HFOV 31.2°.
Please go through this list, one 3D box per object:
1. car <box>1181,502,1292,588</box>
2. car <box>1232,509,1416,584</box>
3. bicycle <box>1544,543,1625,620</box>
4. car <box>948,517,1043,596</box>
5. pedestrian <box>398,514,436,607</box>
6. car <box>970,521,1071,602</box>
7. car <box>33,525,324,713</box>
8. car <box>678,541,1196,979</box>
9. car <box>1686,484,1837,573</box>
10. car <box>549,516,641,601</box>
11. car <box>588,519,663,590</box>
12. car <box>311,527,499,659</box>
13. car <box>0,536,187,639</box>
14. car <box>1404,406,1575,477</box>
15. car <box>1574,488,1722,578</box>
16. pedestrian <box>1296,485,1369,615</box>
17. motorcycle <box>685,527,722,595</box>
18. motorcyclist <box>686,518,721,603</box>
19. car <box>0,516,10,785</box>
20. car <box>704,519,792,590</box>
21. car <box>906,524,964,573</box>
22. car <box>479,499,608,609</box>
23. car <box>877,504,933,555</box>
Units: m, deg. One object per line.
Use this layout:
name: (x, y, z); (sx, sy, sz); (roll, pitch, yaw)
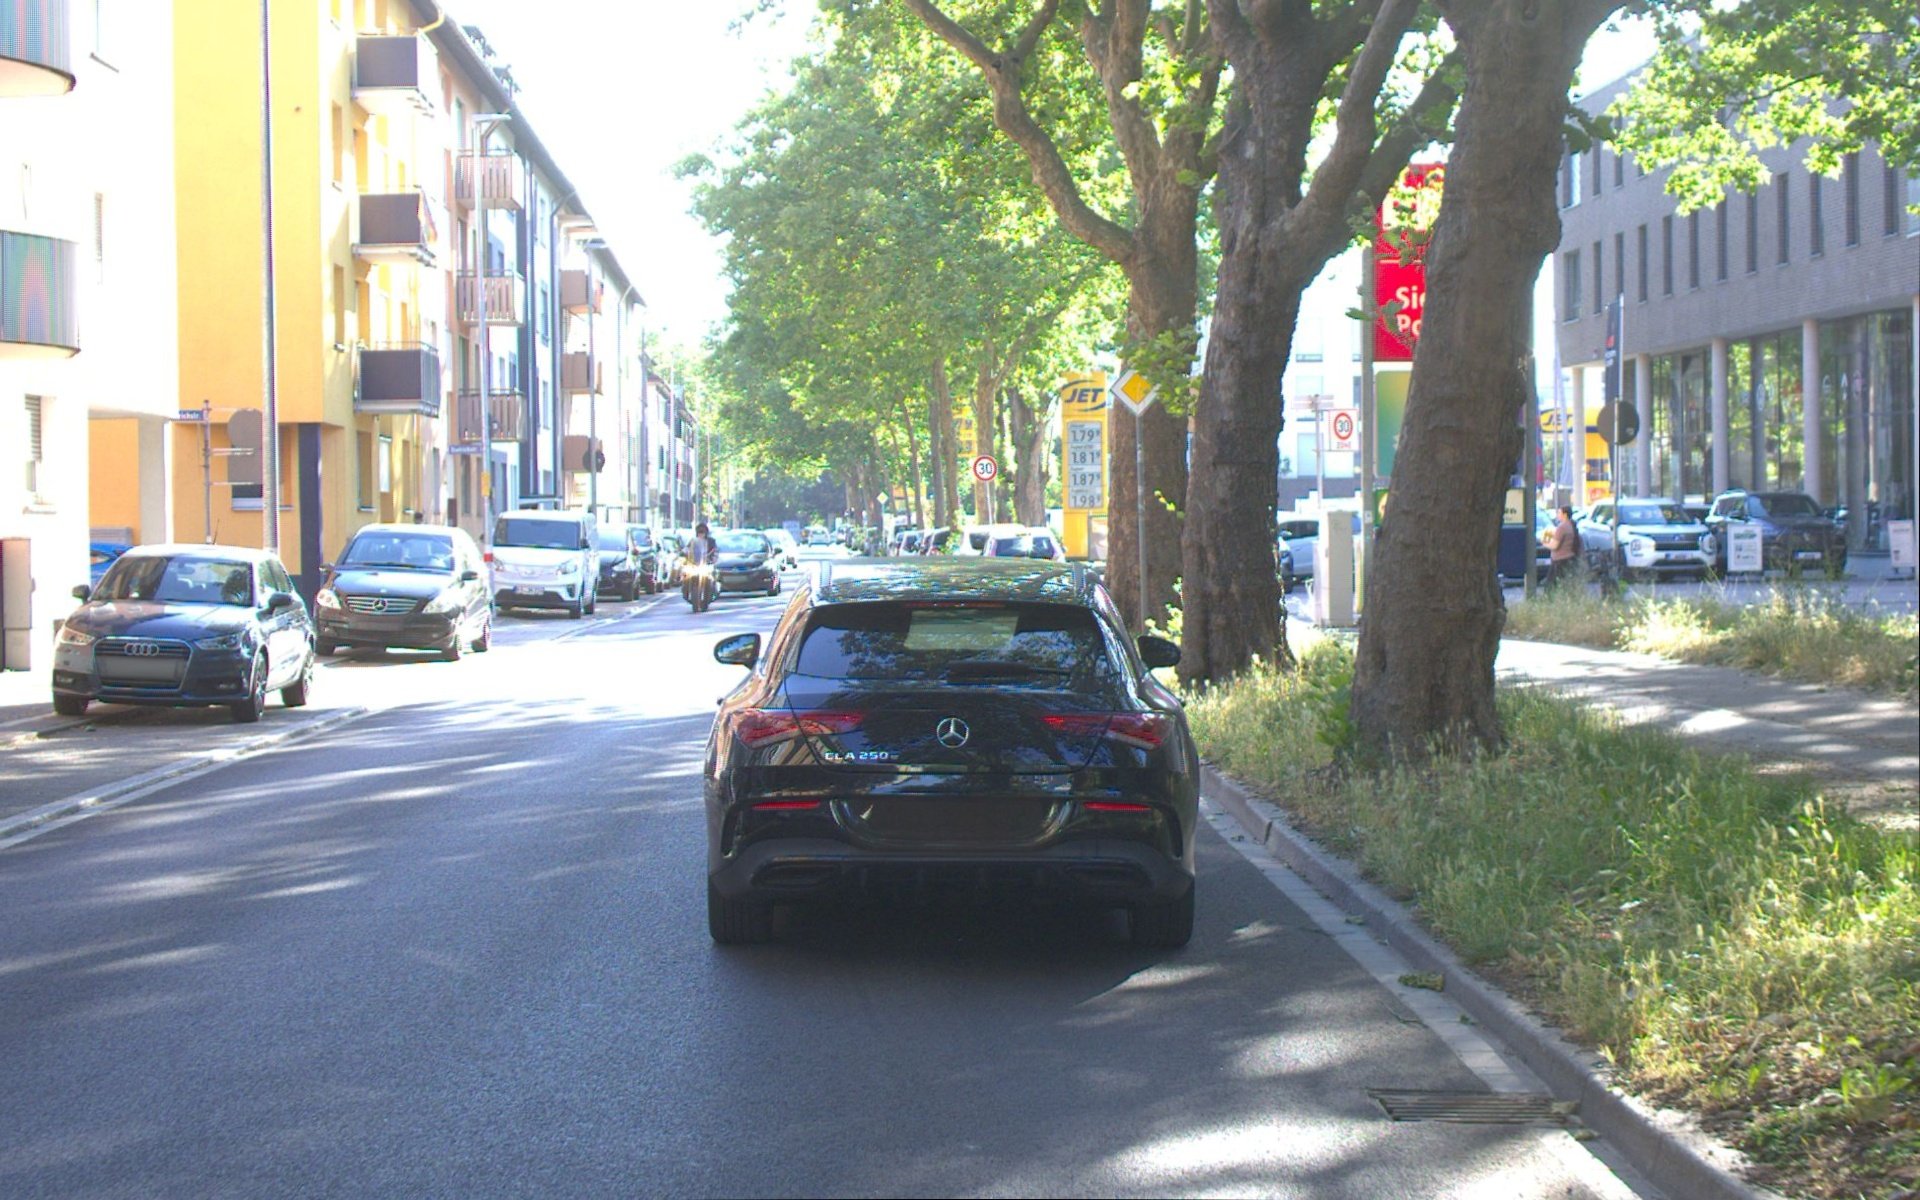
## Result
car: (5.564, -1.127, 69.644); (1.752, 1.664, 4.159); (-1, 1, -2)
car: (7.925, -1.178, 74.764); (3.807, 1.540, 1.662); (-2, 2, -35)
bicycle: (8.233, -0.252, 45.352); (0.382, 1.000, 1.487); (-2, 1, -18)
car: (0.726, -0.939, 73.699); (1.810, 1.533, 4.583); (-3, 1, -1)
pedestrian: (-10.509, -0.775, 66.568); (0.587, 1.784, 0.642); (-1, 1, -1)
car: (1.148, -0.757, 66.876); (1.635, 1.463, 4.022); (-2, 1, -3)
car: (-6.640, 0.118, 29.560); (1.678, 1.481, 3.601); (1, 1, 0)
car: (-0.023, 0.511, 13.708); (1.744, 1.438, 3.969); (1, 1, 2)
car: (16.185, -1.454, 69.627); (1.985, 1.727, 4.181); (-1, 1, -1)
car: (-7.954, -0.940, 75.142); (1.745, 1.781, 4.550); (1, 1, -3)
car: (-8.090, -1.126, 83.448); (1.596, 1.635, 4.413); (1, 1, -3)
car: (-6.813, -0.120, 42.538); (1.678, 1.518, 4.021); (1, 1, 0)
car: (-14.379, -0.194, 54.621); (3.783, 1.561, 1.749); (-1, 1, -1)
car: (12.103, -3.622, 78.471); (3.808, 1.505, 1.643); (-3, 2, -37)
car: (13.935, -1.369, 69.823); (1.875, 1.727, 4.181); (-1, 1, -4)
pedestrian: (5.175, -0.701, 47.776); (0.767, 1.755, 0.664); (-3, 1, -11)
motorcycle: (-4.892, -0.754, 65.582); (0.547, 1.237, 2.264); (-3, 1, -2)
motorcyclist: (-4.883, -0.764, 65.516); (0.585, 1.599, 0.832); (-1, 1, -2)
car: (-6.680, 0.342, 19.134); (1.678, 1.636, 3.985); (1, 1, 0)
car: (-4.723, -1.039, 77.040); (1.771, 1.473, 4.322); (-2, 2, -1)
car: (-0.853, -1.709, 114.379); (1.722, 1.552, 3.601); (1, 1, -3)
car: (-7.532, -0.868, 62.563); (1.734, 1.900, 5.209); (0, 1, 0)
car: (-2.251, -2.842, 139.762); (1.993, 2.007, 4.001); (0, 0, -5)
